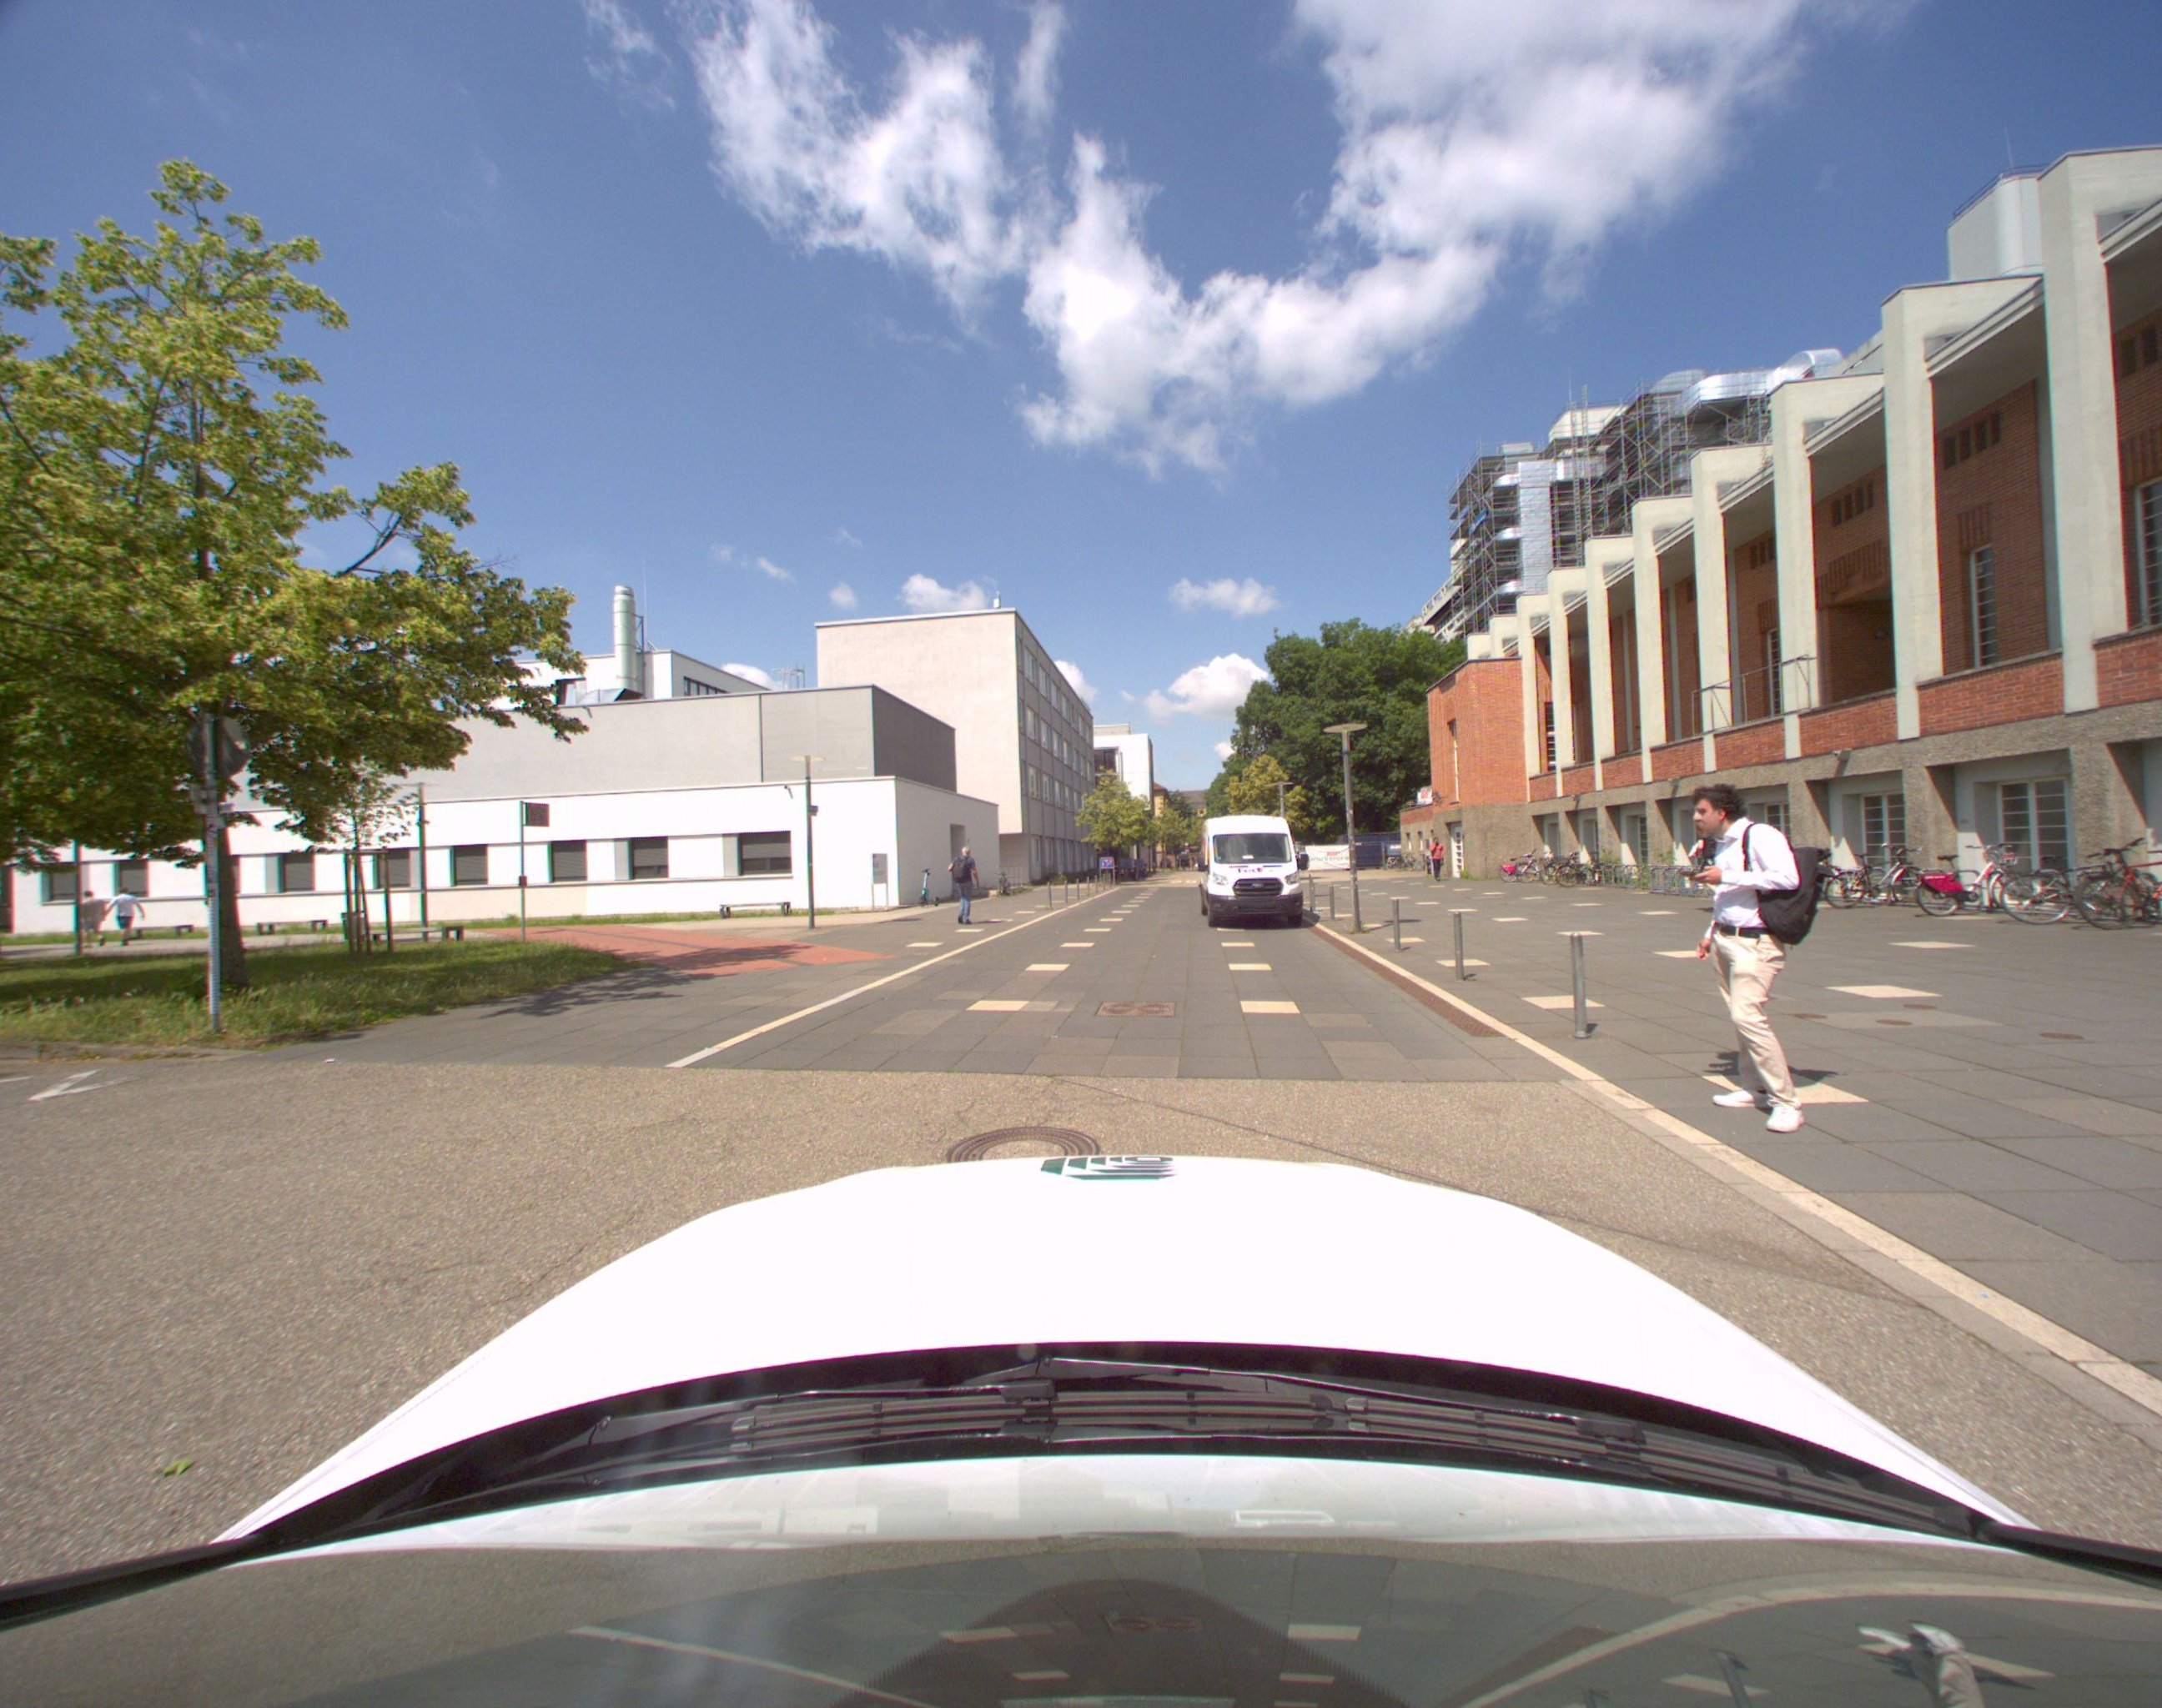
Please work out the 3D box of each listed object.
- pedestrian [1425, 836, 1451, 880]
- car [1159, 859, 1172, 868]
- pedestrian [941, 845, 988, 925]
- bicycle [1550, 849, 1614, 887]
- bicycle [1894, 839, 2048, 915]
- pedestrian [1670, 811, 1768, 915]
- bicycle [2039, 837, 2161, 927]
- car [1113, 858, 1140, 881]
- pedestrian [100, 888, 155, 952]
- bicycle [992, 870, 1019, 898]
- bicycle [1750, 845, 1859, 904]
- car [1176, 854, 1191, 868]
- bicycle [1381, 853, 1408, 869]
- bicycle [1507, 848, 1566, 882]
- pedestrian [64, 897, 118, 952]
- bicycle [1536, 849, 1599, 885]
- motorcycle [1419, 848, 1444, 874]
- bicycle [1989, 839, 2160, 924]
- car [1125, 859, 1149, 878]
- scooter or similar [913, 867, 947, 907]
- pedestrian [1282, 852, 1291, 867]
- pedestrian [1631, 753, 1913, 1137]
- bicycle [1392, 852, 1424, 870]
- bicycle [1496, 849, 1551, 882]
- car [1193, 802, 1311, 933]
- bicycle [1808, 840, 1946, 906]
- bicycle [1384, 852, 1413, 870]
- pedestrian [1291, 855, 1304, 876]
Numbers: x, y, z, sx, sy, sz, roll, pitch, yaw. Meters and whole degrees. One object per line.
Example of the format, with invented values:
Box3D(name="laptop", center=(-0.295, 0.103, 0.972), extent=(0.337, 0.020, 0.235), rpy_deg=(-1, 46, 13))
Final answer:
Box3D(name="pedestrian", center=(15.179, 0.184, 34.609), extent=(0.660, 1.834, 0.906), rpy_deg=(-2, -1, 1))
Box3D(name="car", center=(12.697, 1.438, 121.636), extent=(1.807, 1.324, 3.775), rpy_deg=(-2, -1, 7))
Box3D(name="pedestrian", center=(-2.744, 0.714, 19.292), extent=(0.820, 1.817, 1.145), rpy_deg=(-2, -1, 2))
Box3D(name="bicycle", center=(15.710, 0.434, 25.551), extent=(1.674, 1.110, 0.436), rpy_deg=(-2, -1, 6))
Box3D(name="bicycle", center=(14.101, 0.364, 12.932), extent=(1.788, 1.110, 0.436), rpy_deg=(-2, -1, 6))
Box3D(name="pedestrian", center=(11.855, 0.161, 15.183), extent=(0.840, 1.834, 1.198), rpy_deg=(-2, -1, 3))
Box3D(name="bicycle", center=(13.704, 0.351, 10.635), extent=(1.686, 1.110, 0.436), rpy_deg=(-2, -1, 6))
Box3D(name="car", center=(3.289, 1.089, 58.229), extent=(1.688, 1.564, 4.075), rpy_deg=(-2, -1, 6))
Box3D(name="pedestrian", center=(-29.428, 2.022, 25.141), extent=(0.756, 1.884, 0.828), rpy_deg=(-2, -1, 11))
Box3D(name="bicycle", center=(-3.147, 1.244, 34.204), extent=(0.539, 1.061, 1.906), rpy_deg=(-2, -1, 13))
Box3D(name="bicycle", center=(14.551, 0.420, 16.398), extent=(1.674, 1.110, 0.436), rpy_deg=(-2, -1, 6))
Box3D(name="car", center=(15.237, 1.056, 121.346), extent=(2.164, 1.926, 5.194), rpy_deg=(-2, -1, 6))
Box3D(name="bicycle", center=(21.346, 0.488, 55.496), extent=(1.662, 1.003, 0.449), rpy_deg=(-2, -1, 8))
Box3D(name="bicycle", center=(16.461, 0.405, 29.439), extent=(1.744, 1.149, 0.518), rpy_deg=(-2, -1, 6))
Box3D(name="pedestrian", center=(-29.486, 2.087, 24.261), extent=(0.724, 1.563, 0.760), rpy_deg=(-2, -1, 11))
Box3D(name="bicycle", center=(16.122, 0.422, 27.016), extent=(1.738, 1.110, 0.436), rpy_deg=(-2, -1, 6))
Box3D(name="motorcycle", center=(18.418, 0.369, 42.866), extent=(0.692, 1.323, 2.226), rpy_deg=(-2, -1, 10))
Box3D(name="bicycle", center=(13.788, 0.381, 11.327), extent=(1.642, 1.110, 0.436), rpy_deg=(-2, -1, 6))
Box3D(name="car", center=(4.585, 1.175, 66.405), extent=(1.769, 1.461, 4.266), rpy_deg=(-1, 0, 6))
Box3D(name="scooter or similar", center=(-5.005, 1.076, 27.093), extent=(0.478, 1.263, 1.320), rpy_deg=(-2, -1, 20))
Box3D(name="pedestrian", center=(23.029, 0.626, 91.215), extent=(0.747, 1.710, 0.559), rpy_deg=(-1, -1, -28))
Box3D(name="pedestrian", center=(3.819, 0.451, 4.599), extent=(1.012, 1.848, 0.922), rpy_deg=(-4, -1, 38))
Box3D(name="bicycle", center=(20.517, 0.446, 51.144), extent=(1.796, 1.109, 0.449), rpy_deg=(-2, -1, 8))
Box3D(name="bicycle", center=(16.488, 0.440, 30.371), extent=(1.744, 1.149, 0.436), rpy_deg=(-2, -1, 6))
Box3D(name="car", center=(3.824, 0.287, 19.261), extent=(2.049, 2.543, 5.859), rpy_deg=(-2, -1, 6))
Box3D(name="bicycle", center=(14.374, 0.348, 14.729), extent=(1.901, 1.110, 0.436), rpy_deg=(-2, -1, 6))
Box3D(name="bicycle", center=(20.727, 0.454, 53.197), extent=(1.692, 1.109, 0.449), rpy_deg=(-2, -1, 8))
Box3D(name="pedestrian", center=(13.838, 0.714, 52.101), extent=(0.691, 1.330, 0.718), rpy_deg=(-2, -1, 12))
